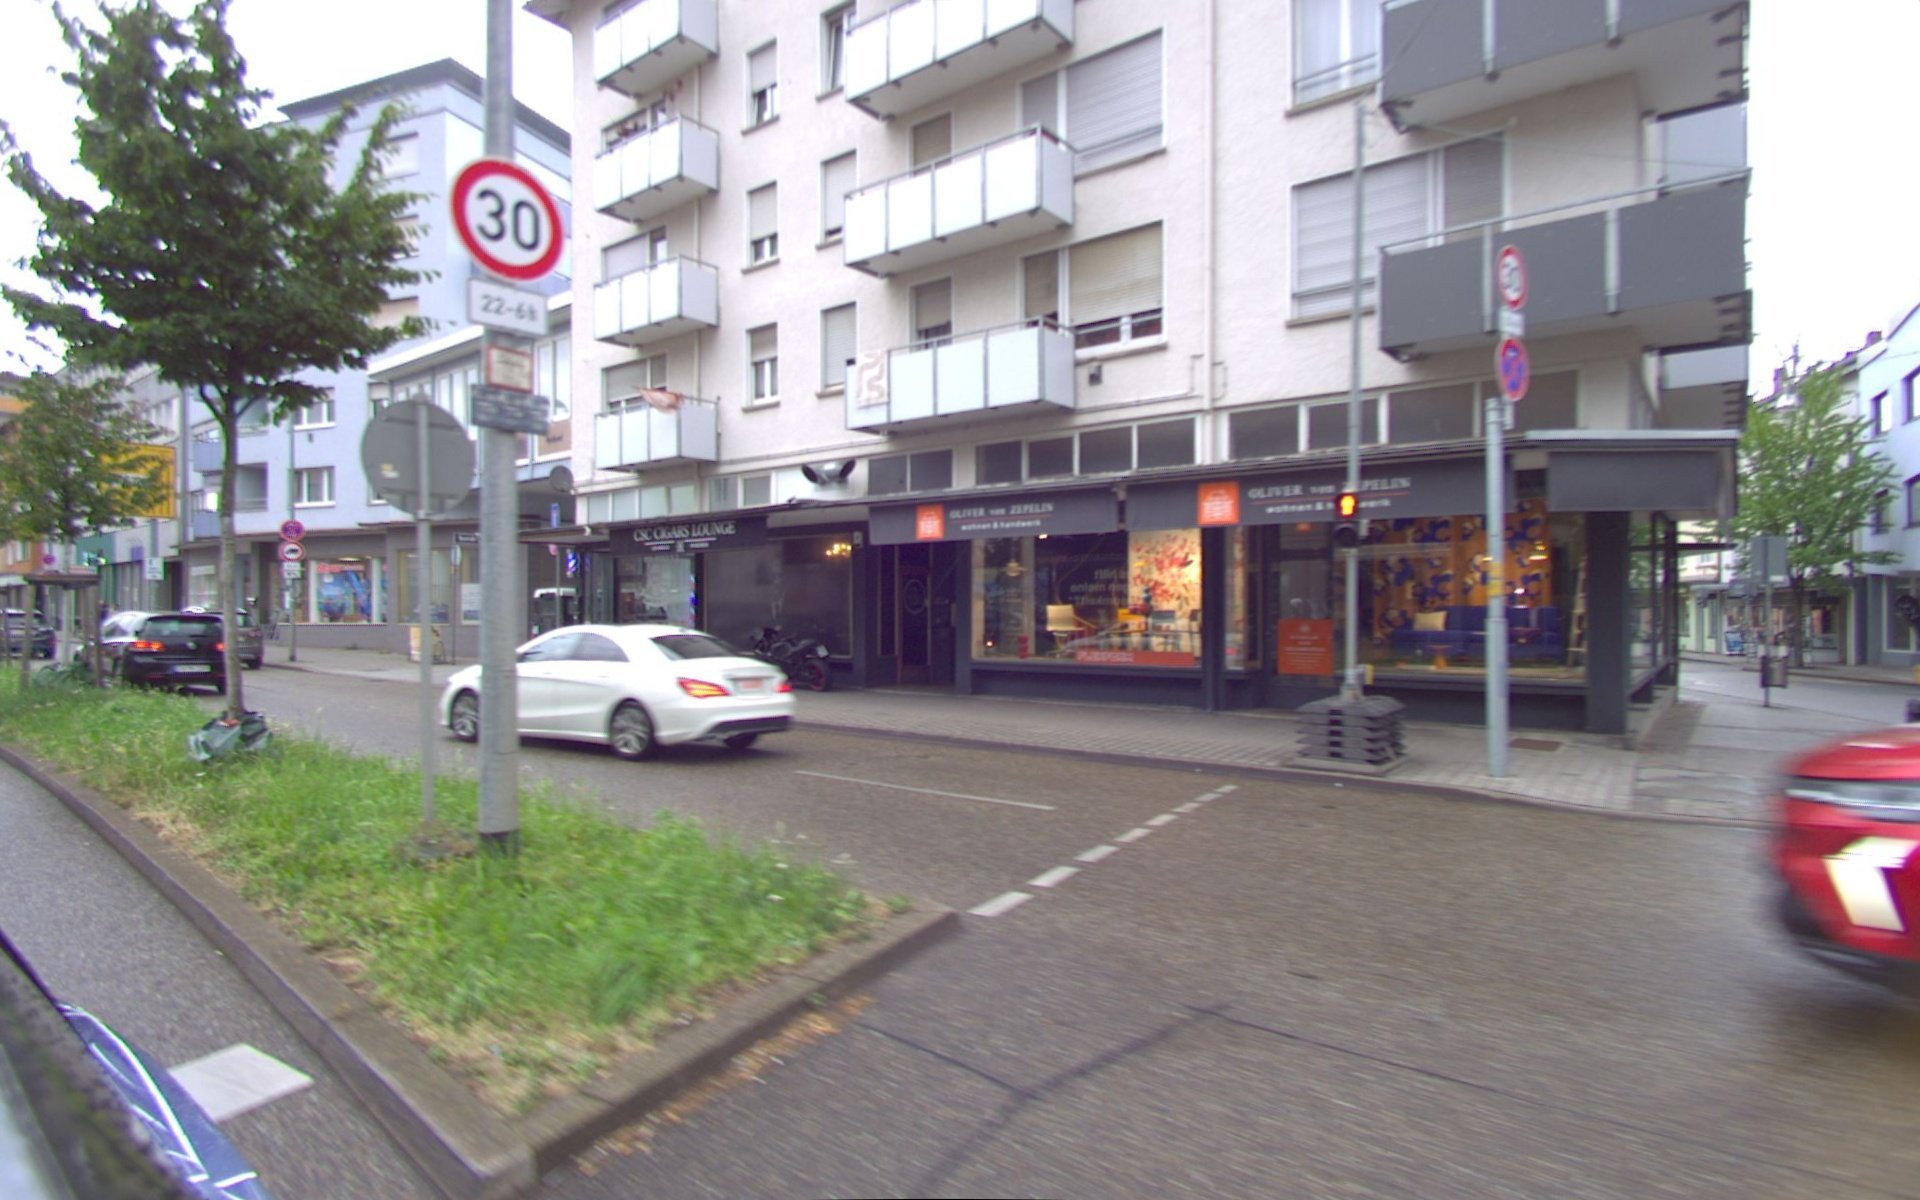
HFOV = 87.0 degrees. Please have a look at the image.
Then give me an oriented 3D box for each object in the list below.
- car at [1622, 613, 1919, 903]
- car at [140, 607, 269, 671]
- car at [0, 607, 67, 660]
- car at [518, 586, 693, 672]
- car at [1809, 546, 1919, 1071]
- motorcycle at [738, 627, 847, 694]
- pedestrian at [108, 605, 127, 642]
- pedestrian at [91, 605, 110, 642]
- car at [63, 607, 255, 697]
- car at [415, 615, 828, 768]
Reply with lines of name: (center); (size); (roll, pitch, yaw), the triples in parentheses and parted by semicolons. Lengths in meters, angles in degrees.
car: (6.120, 0.876, 5.575); (3.996, 1.508, 1.828); (-1, -4, 39)
car: (-20.423, 1.041, 27.316); (4.021, 1.601, 1.755); (-1, -3, 38)
car: (-27.889, 0.984, 29.813); (3.835, 1.452, 1.681); (-1, -3, 38)
car: (-9.267, 0.741, 26.710); (1.893, 2.070, 3.947); (0, -1, 40)
car: (4.950, 0.658, 2.668); (4.086, 1.606, 1.828); (-1, -3, 39)
motorcycle: (-3.106, 1.085, 18.602); (2.193, 1.096, 0.662); (0, 1, 38)
pedestrian: (-40.045, 1.114, 48.100); (0.530, 1.701, 0.506); (2, -1, 39)
pedestrian: (-40.425, 1.097, 47.619); (0.530, 1.701, 0.520); (2, -1, 39)
car: (-14.639, 0.912, 18.427); (4.152, 1.452, 1.799); (-1, -3, 38)
car: (-3.910, 0.932, 11.521); (4.596, 1.428, 1.832); (0, -4, 30)
